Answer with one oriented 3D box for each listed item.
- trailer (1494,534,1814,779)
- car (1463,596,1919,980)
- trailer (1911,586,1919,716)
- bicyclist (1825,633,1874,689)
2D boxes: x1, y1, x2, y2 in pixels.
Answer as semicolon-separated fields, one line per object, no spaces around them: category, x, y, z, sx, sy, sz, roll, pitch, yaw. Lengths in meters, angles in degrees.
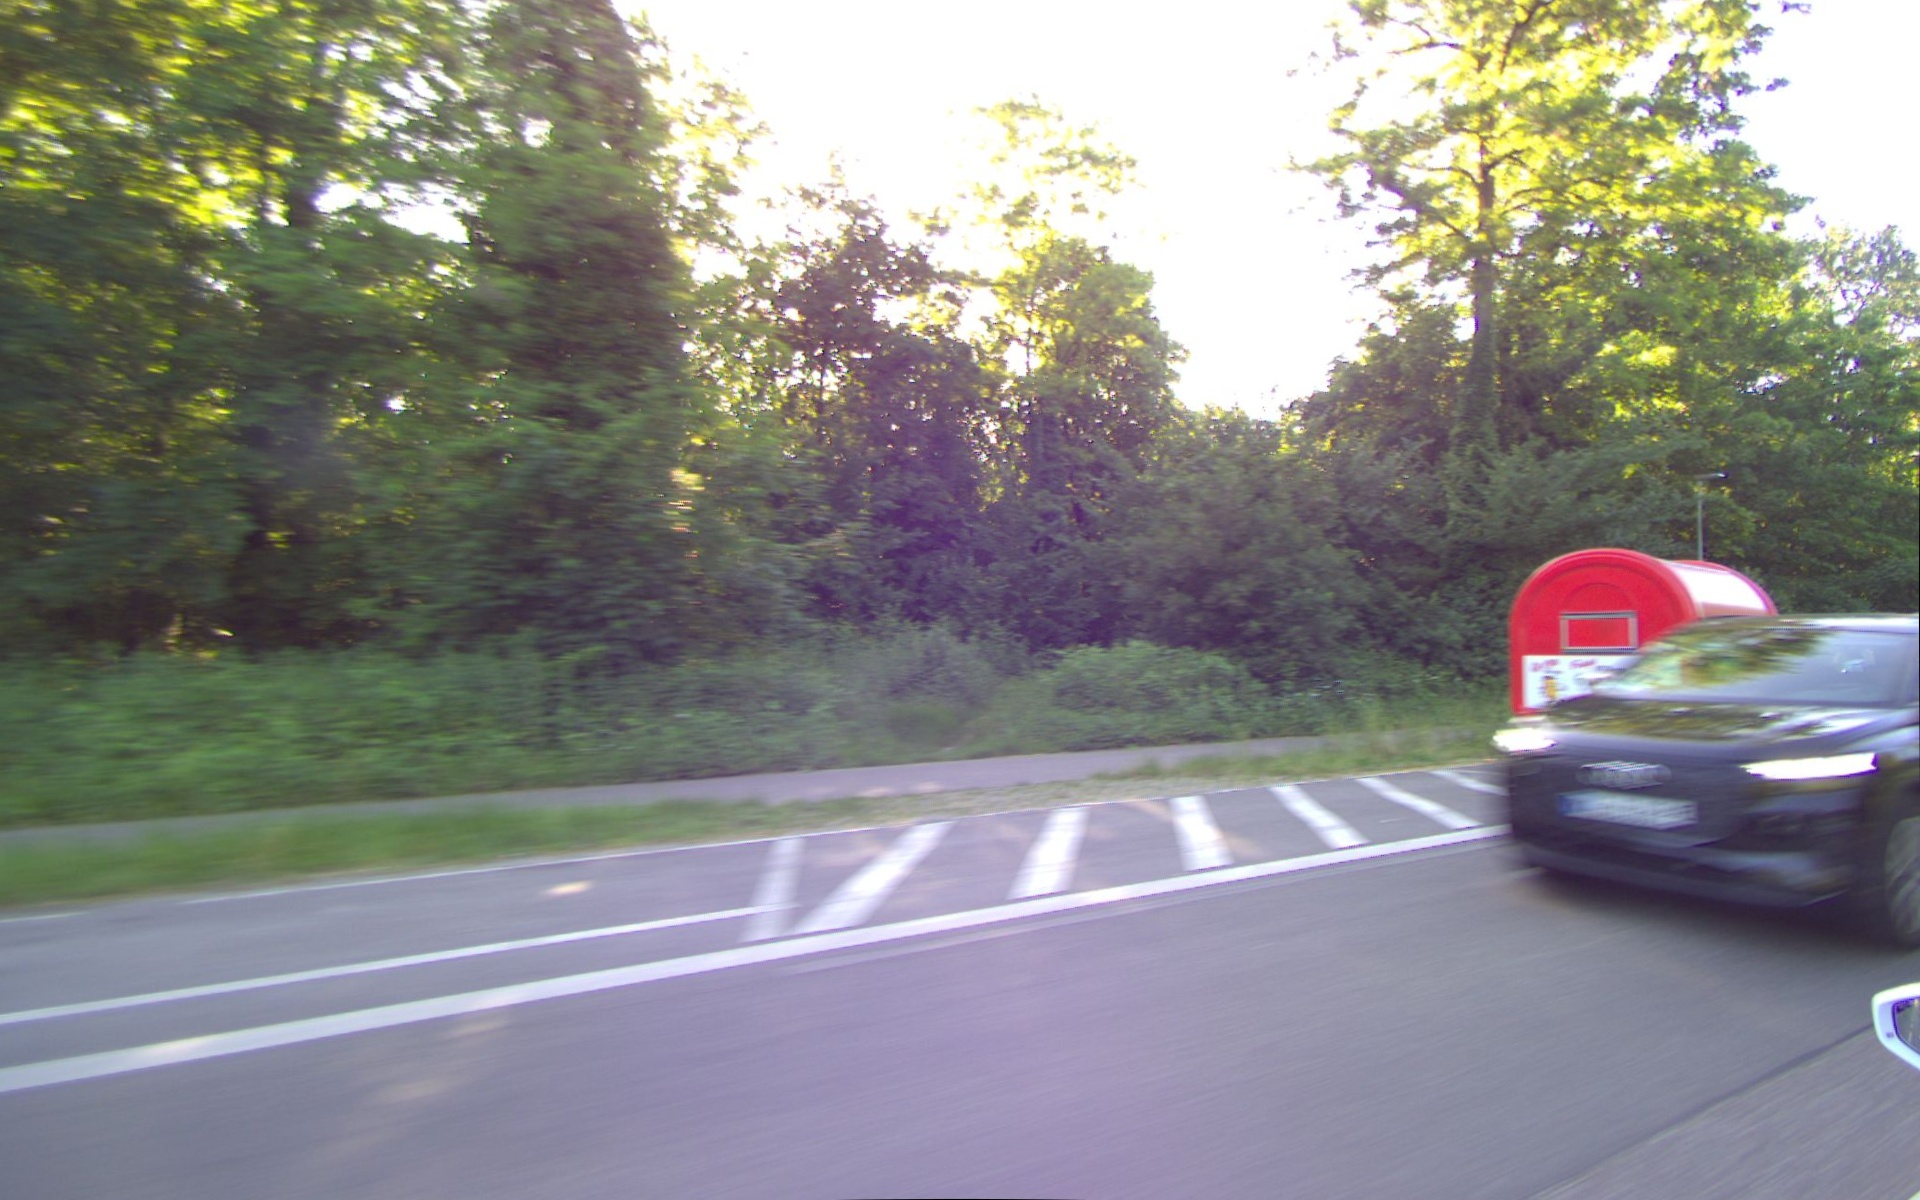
trailer;8.437;0.636;12.182;3.524;2.513;2.054;1;-2;-34
car;5.253;0.870;6.130;4.407;1.607;1.810;2;-2;-30
trailer;20.515;1.005;19.651;3.524;2.513;2.054;1;-2;-34
bicyclist;22.780;1.550;25.726;0.894;1.382;0.668;1;0;-30
